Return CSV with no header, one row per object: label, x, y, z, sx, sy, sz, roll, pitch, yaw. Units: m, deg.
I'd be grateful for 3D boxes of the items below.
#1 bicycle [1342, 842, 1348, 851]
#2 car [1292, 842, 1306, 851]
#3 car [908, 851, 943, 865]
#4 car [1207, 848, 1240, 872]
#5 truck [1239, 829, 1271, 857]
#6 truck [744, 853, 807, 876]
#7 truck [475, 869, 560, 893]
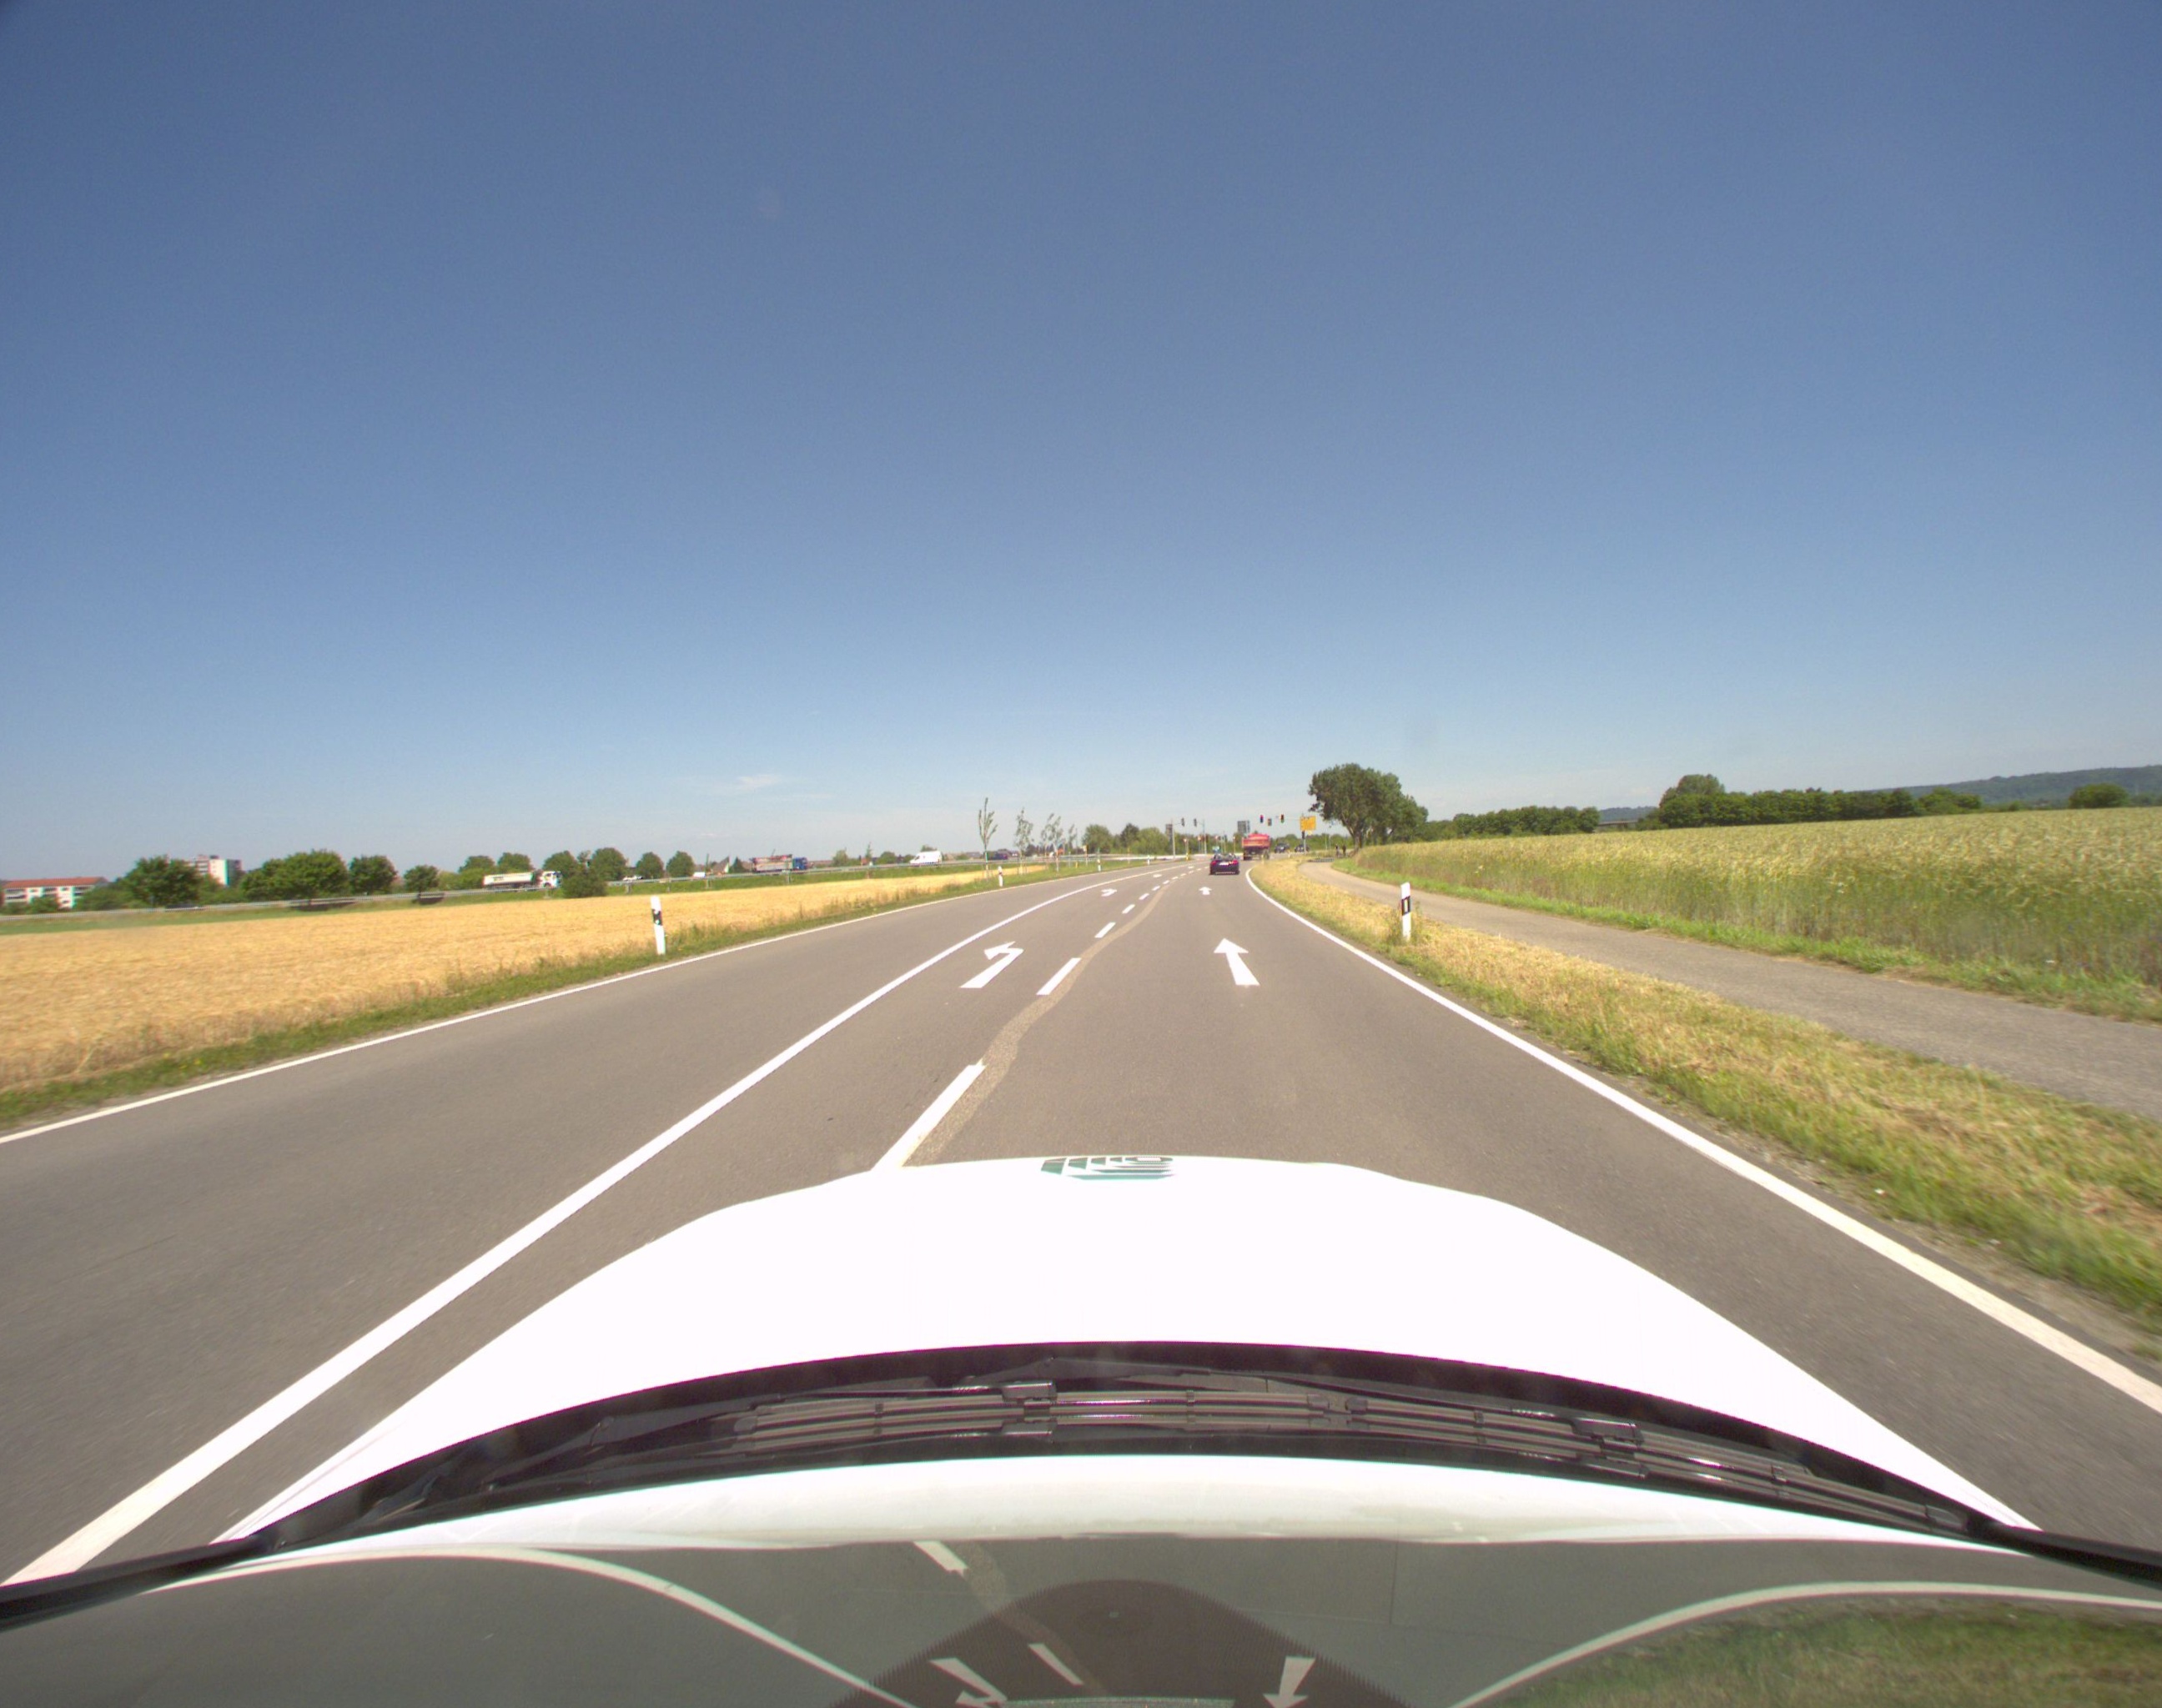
bicycle,37.649,-1.073,116.240,0.692,1.210,2.062,0,1,23
car,43.818,-1.563,163.572,1.913,1.739,4.917,-2,0,24
car,-28.291,0.727,148.350,5.886,2.421,2.252,-2,0,7
car,8.800,0.393,50.075,1.735,1.376,3.692,-1,-1,13
truck,20.550,-1.216,95.906,2.692,3.053,8.203,-2,-1,19
truck,-54.677,1.812,145.946,10.051,3.793,2.625,-2,0,-1
truck,-99.204,4.702,143.580,11.989,3.614,2.973,-2,0,-10
